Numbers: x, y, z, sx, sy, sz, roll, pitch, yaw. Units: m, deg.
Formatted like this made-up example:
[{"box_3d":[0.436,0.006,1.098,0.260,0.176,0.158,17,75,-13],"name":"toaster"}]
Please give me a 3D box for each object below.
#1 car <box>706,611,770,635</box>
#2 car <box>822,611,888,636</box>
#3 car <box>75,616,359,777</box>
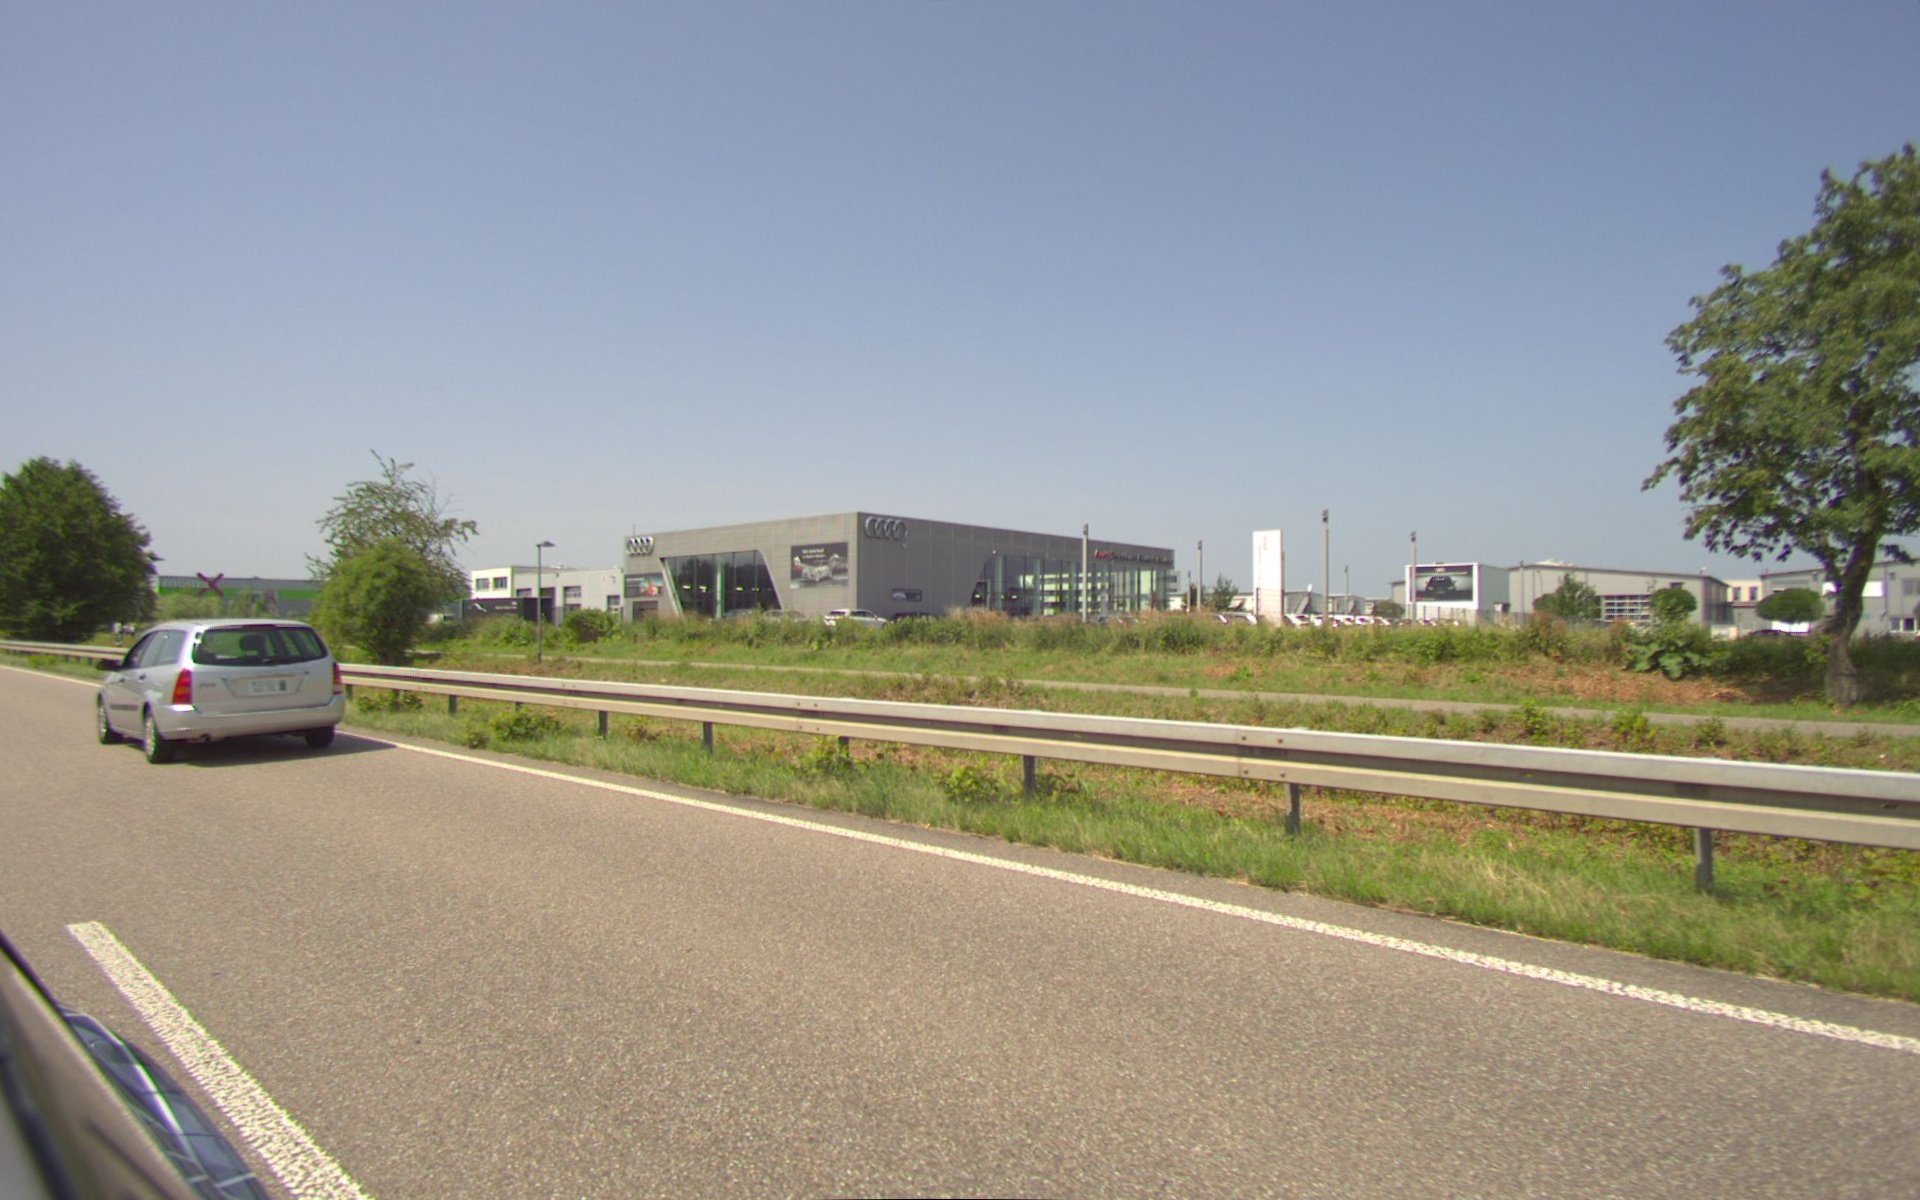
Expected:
[{"box_3d":[-15.055,1.566,68.521,4.662,1.549,1.729,-2,-3,41],"name":"car"},{"box_3d":[-6.273,1.434,60.706,1.620,1.448,4.190,-1,-3,34],"name":"car"},{"box_3d":[-8.757,0.968,11.757,4.684,1.486,1.680,-1,0,41],"name":"car"}]
